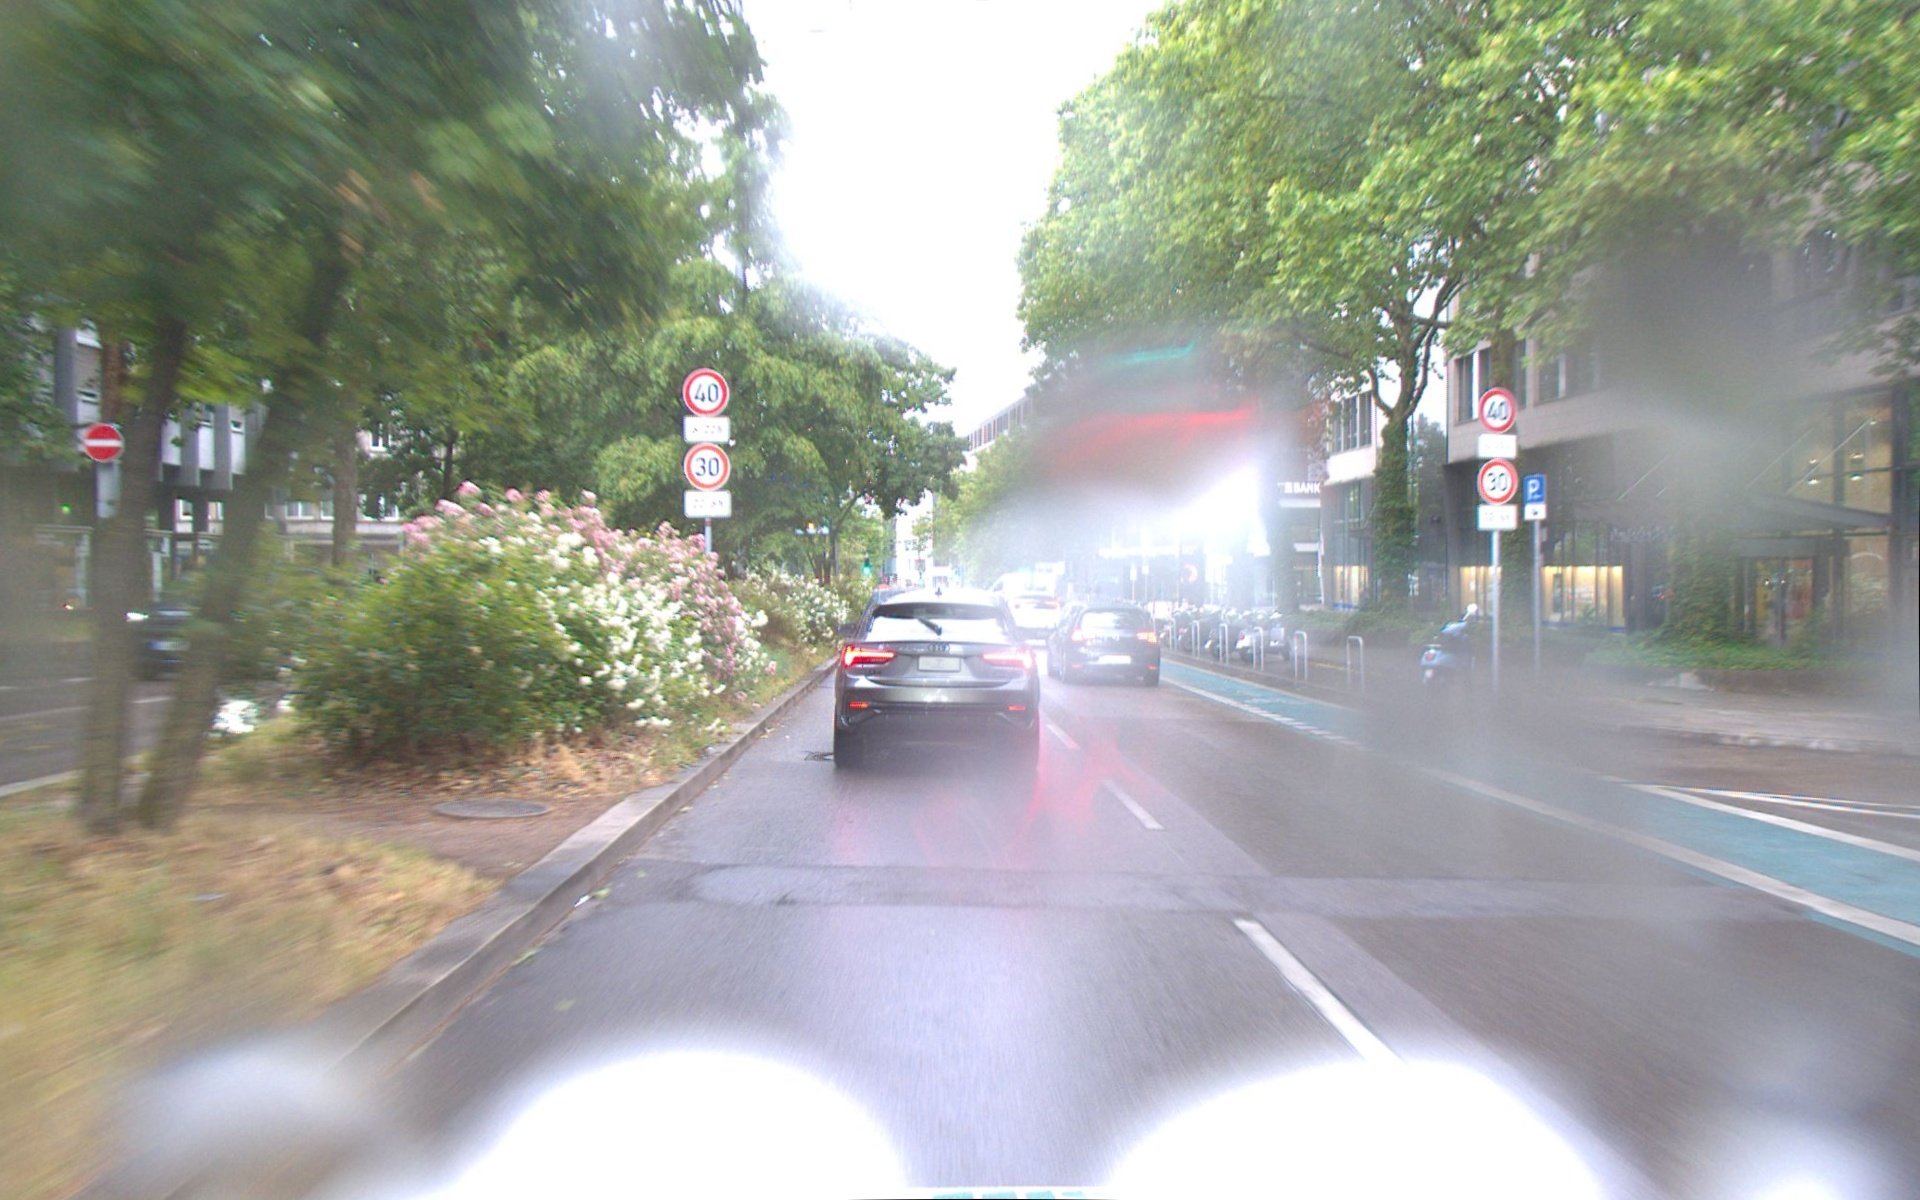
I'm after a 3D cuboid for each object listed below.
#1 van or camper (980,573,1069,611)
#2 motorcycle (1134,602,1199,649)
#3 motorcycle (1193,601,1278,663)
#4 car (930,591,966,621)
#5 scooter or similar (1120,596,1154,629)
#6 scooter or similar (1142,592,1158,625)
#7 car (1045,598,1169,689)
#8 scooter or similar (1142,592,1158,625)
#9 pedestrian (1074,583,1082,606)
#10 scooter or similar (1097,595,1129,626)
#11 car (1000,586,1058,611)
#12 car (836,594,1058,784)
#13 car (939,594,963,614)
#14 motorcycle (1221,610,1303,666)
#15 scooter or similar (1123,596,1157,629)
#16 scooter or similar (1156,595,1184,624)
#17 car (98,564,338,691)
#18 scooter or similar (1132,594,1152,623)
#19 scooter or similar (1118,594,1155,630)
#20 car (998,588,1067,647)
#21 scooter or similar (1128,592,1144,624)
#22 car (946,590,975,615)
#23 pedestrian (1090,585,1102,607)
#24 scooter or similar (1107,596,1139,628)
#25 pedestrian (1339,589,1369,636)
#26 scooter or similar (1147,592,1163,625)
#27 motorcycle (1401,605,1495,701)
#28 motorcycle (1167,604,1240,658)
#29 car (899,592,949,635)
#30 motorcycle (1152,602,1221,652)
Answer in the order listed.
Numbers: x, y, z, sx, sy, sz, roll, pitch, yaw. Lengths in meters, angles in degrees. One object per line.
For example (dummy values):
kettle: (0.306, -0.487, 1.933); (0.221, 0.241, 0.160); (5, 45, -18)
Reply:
van or camper: (4.514, -0.557, 115.891); (5.945, 2.603, 2.103); (0, 0, 25)
motorcycle: (6.585, 0.815, 52.661); (1.925, 1.397, 0.725); (-2, 2, -18)
motorcycle: (6.929, 0.781, 41.569); (2.026, 1.453, 0.724); (-2, 2, -23)
car: (-0.666, 0.316, 88.537); (1.812, 1.550, 4.037); (1, 0, -2)
scooter or similar: (7.043, 0.488, 65.785); (1.263, 1.257, 0.489); (-1, 2, 0)
scooter or similar: (7.688, 0.323, 66.937); (0.478, 1.282, 1.293); (-1, 2, -2)
car: (2.659, 0.757, 30.712); (1.812, 1.550, 4.037); (1, 0, -2)
scooter or similar: (7.688, 0.323, 66.937); (0.478, 1.282, 1.293); (-1, 2, -2)
pedestrian: (9.621, -0.430, 134.791); (0.542, 1.836, 0.761); (1, -1, -5)
scooter or similar: (6.403, 0.433, 69.235); (1.262, 1.282, 0.490); (-1, 2, 10)
car: (4.594, -0.114, 109.909); (3.572, 1.574, 1.716); (1, 0, 17)
car: (-0.190, 0.727, 15.618); (1.812, 1.550, 4.036); (1, 0, -2)
car: (-0.712, 0.315, 131.439); (1.812, 1.550, 4.037); (1, 0, -2)
motorcycle: (7.175, 0.893, 39.249); (2.039, 1.234, 0.676); (-2, 0, -38)
scooter or similar: (7.066, 0.482, 65.041); (1.263, 1.257, 0.489); (-1, 2, 0)
scooter or similar: (8.943, 0.389, 70.545); (0.483, 1.219, 1.279); (1, -1, -32)
car: (-10.626, 0.358, 24.017); (1.687, 1.666, 4.014); (1, 0, -1)
scooter or similar: (7.790, 0.360, 70.733); (0.479, 1.219, 1.290); (0, -1, -11)
scooter or similar: (6.710, 0.456, 62.892); (1.267, 1.300, 0.535); (-1, 2, -13)
car: (2.187, 0.503, 50.632); (1.812, 1.698, 4.037); (1, 0, -2)
scooter or similar: (7.418, 0.345, 69.865); (0.478, 1.282, 1.293); (-1, 2, -2)
car: (0.013, 0.165, 107.556); (1.812, 1.550, 4.037); (1, 0, -2)
pedestrian: (10.711, -0.298, 130.352); (0.789, 1.726, 1.186); (1, 0, -5)
scooter or similar: (6.786, 0.511, 68.715); (1.262, 1.282, 0.490); (-1, 2, 10)
pedestrian: (16.132, 0.513, 67.743); (0.898, 1.882, 1.277); (1, -1, 0)
scooter or similar: (8.025, 0.341, 68.179); (0.478, 1.282, 1.293); (-1, 2, -2)
motorcycle: (7.629, 0.810, 25.816); (0.672, 1.391, 1.937); (-3, -1, 38)
motorcycle: (6.770, 0.836, 45.960); (1.929, 1.397, 0.724); (-2, 2, -23)
car: (-1.357, 0.497, 62.164); (1.812, 1.550, 4.037); (1, 0, -2)
motorcycle: (6.758, 0.788, 49.392); (1.929, 1.397, 0.724); (-2, 2, -23)
